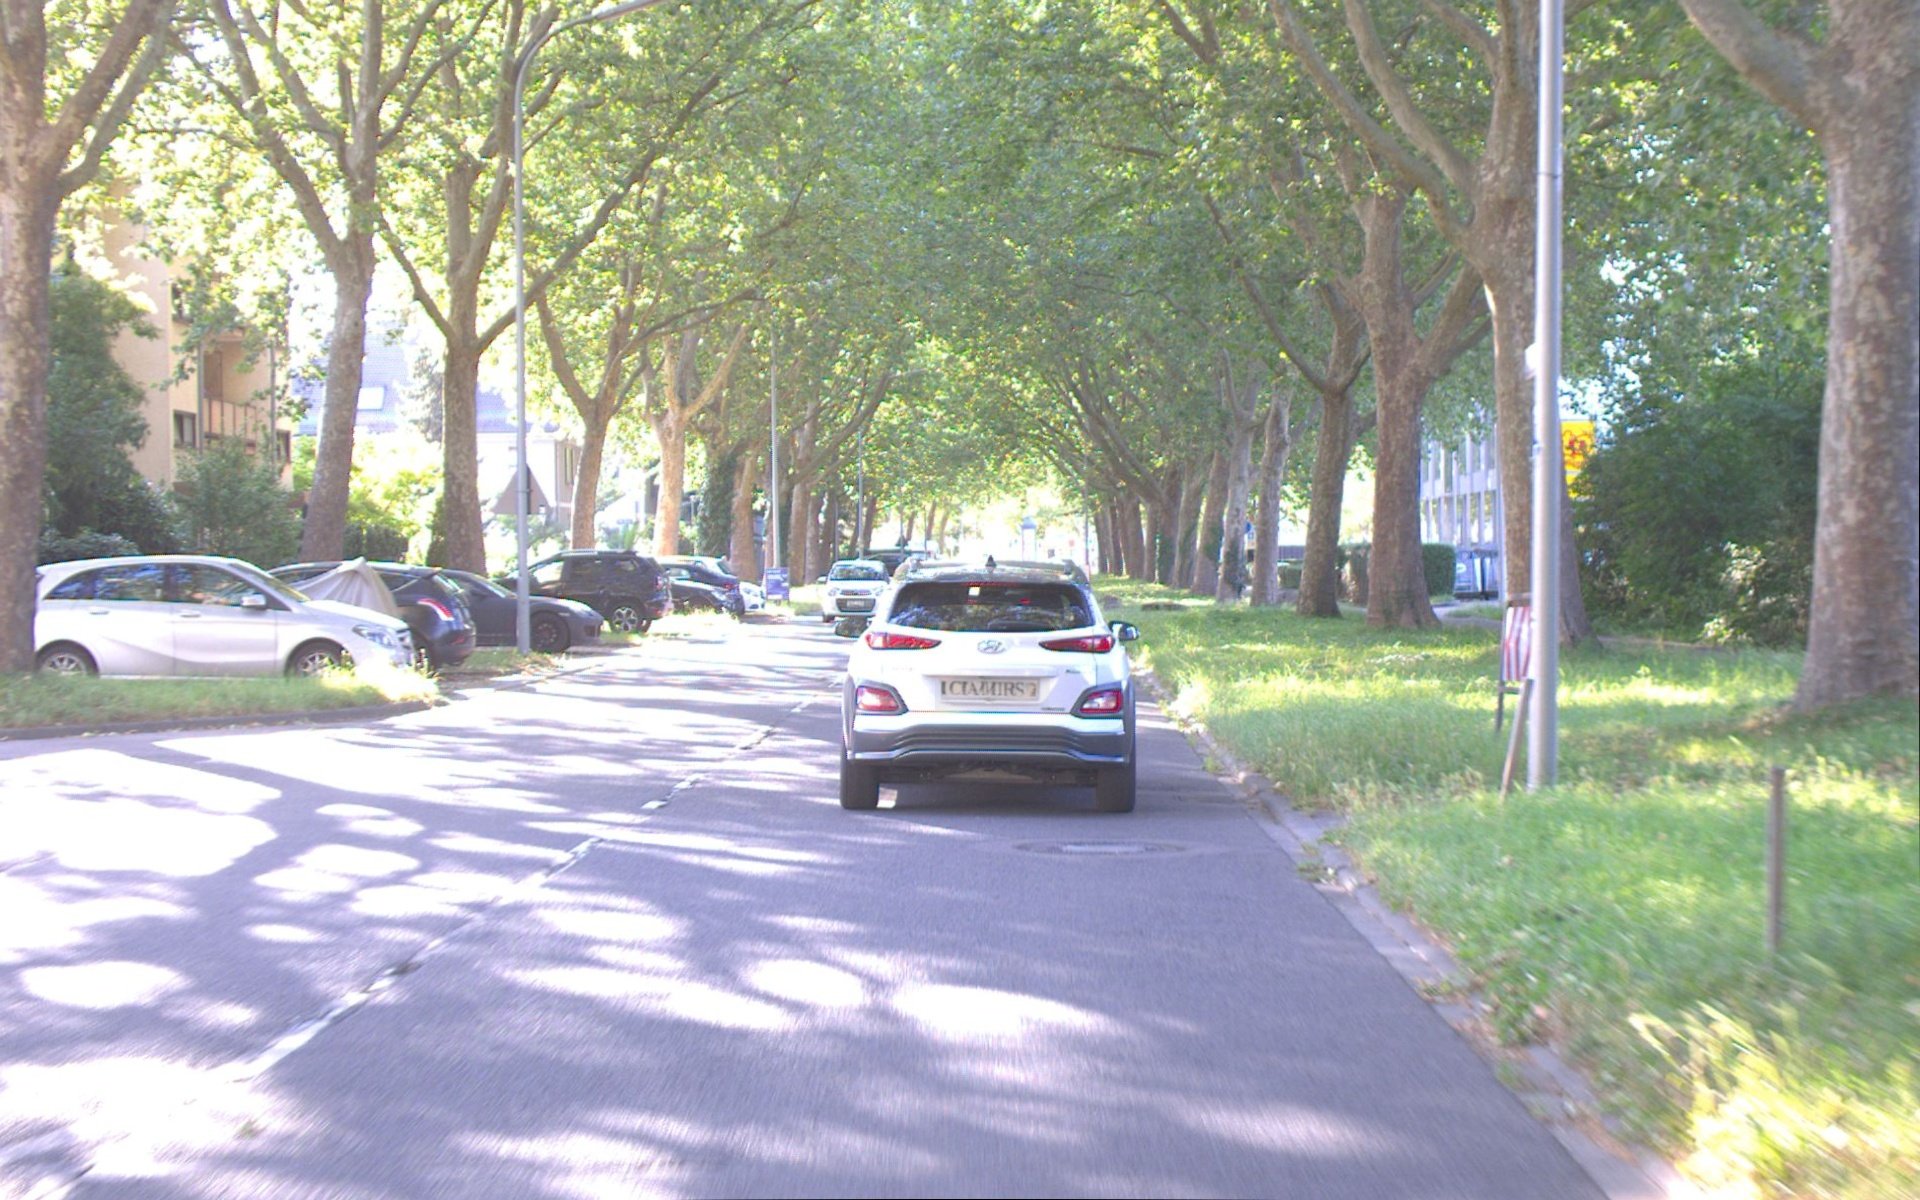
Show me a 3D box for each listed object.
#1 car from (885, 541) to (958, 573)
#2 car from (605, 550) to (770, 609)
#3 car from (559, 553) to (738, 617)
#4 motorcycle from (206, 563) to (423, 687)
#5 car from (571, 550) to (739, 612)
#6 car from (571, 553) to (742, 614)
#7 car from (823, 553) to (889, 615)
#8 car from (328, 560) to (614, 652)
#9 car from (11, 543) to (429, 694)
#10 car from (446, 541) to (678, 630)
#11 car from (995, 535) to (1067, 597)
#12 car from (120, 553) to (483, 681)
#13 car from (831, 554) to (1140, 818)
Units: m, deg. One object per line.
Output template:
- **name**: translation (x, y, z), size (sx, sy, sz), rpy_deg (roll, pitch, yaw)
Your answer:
- **car**: translation (-2.183, -2.445, 194.068), size (3.986, 1.766, 2.000), rpy_deg (0, 0, -3)
- **car**: translation (-6.911, -0.532, 87.355), size (3.987, 1.465, 1.809), rpy_deg (0, 1, 3)
- **car**: translation (-7.199, -0.364, 79.647), size (3.987, 1.465, 1.780), rpy_deg (0, 1, 0)
- **motorcycle**: translation (-7.455, 0.282, 39.783), size (2.385, 1.383, 0.648), rpy_deg (-1, 1, -4)
- **car**: translation (-7.517, -0.477, 84.987), size (3.987, 1.515, 1.809), rpy_deg (0, 1, 0)
- **car**: translation (-7.202, -0.399, 81.841), size (3.986, 1.419, 1.809), rpy_deg (0, 1, -3)
- **car**: translation (-2.453, -0.393, 81.951), size (1.535, 1.454, 3.185), rpy_deg (0, 1, -1)
- **car**: translation (-7.660, 0.081, 54.100), size (4.240, 1.348, 1.741), rpy_deg (-1, 1, 0)
- **car**: translation (-7.979, 0.184, 37.371), size (4.182, 1.579, 2.000), rpy_deg (0, 1, -3)
- **car**: translation (-7.627, -0.285, 66.182), size (4.244, 1.674, 1.671), rpy_deg (0, 1, 1)
- **car**: translation (1.959, -0.954, 95.550), size (1.676, 1.690, 3.746), rpy_deg (0, 1, -4)
- **car**: translation (-8.070, 0.189, 42.417), size (4.160, 1.501, 1.802), rpy_deg (0, 1, -2)
- **car**: translation (0.135, 0.482, 22.379), size (1.835, 1.550, 4.000), rpy_deg (0, 1, 0)
